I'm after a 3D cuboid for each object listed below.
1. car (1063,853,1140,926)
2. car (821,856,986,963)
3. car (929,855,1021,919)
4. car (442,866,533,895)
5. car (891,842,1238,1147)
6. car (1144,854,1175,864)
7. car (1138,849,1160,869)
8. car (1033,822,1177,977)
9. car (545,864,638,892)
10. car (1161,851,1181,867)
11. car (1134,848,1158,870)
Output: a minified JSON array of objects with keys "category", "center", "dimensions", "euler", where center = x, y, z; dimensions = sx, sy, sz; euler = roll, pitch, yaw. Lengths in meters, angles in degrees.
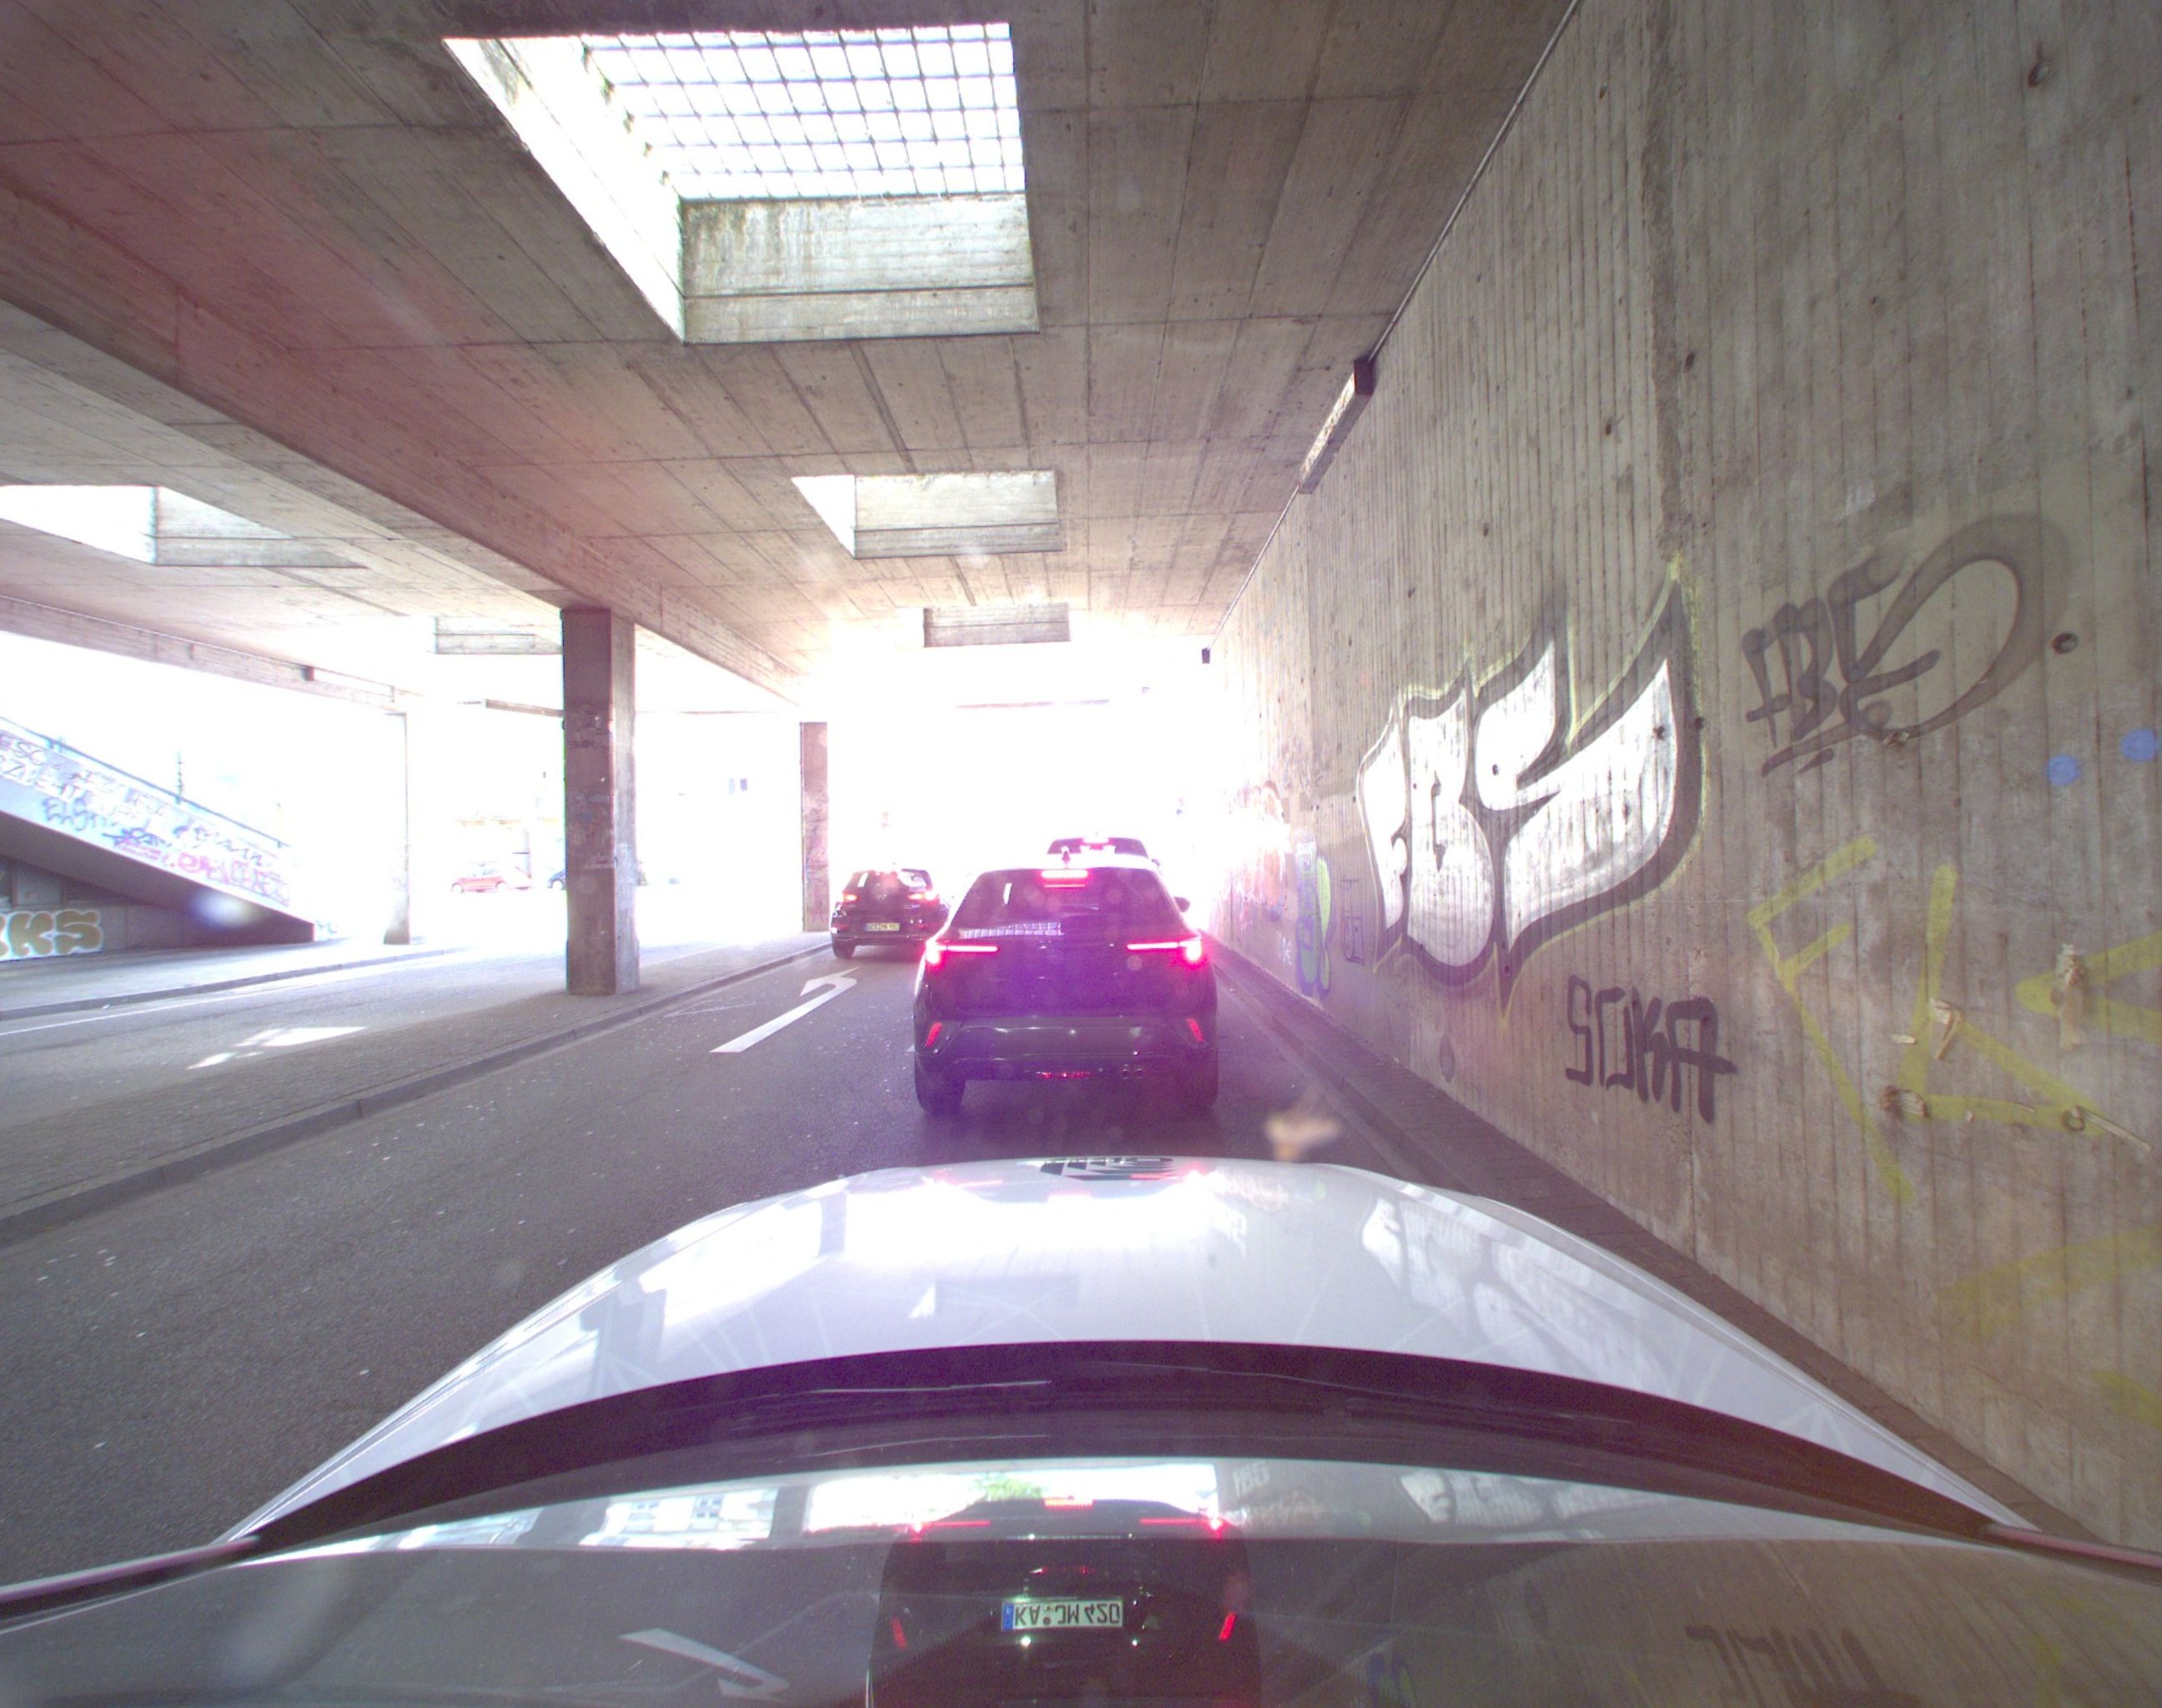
[{"category":"car","center":[0.497,0.760,19.377],"dimensions":[1.603,1.513,4.055],"euler":[-1,0,2]},{"category":"car","center":[-2.744,0.798,13.478],"dimensions":[1.755,1.480,3.846],"euler":[-1,0,2]},{"category":"car","center":[-2.656,0.794,21.206],"dimensions":[1.755,1.480,3.846],"euler":[-1,0,2]},{"category":"car","center":[-32.927,1.441,45.260],"dimensions":[3.748,1.475,1.749],"euler":[-1,-1,0]},{"category":"car","center":[-0.023,0.724,6.219],"dimensions":[1.755,1.531,4.091],"euler":[-1,0,2]},{"category":"car","center":[12.838,0.855,133.683],"dimensions":[4.814,1.667,1.812],"euler":[0,-1,-19]},{"category":"car","center":[5.755,0.421,68.350],"dimensions":[1.745,1.667,3.950],"euler":[0,-1,6]},{"category":"car","center":[0.362,0.565,12.158],"dimensions":[1.755,1.883,4.148],"euler":[-1,0,2]},{"category":"car","center":[-27.171,1.319,45.283],"dimensions":[4.096,1.475,1.737],"euler":[-1,-1,0]},{"category":"car","center":[9.702,0.549,87.456],"dimensions":[1.742,1.667,3.956],"euler":[0,-1,11]},{"category":"car","center":[4.968,0.377,62.246],"dimensions":[1.745,1.667,3.950],"euler":[0,-1,6]}]
